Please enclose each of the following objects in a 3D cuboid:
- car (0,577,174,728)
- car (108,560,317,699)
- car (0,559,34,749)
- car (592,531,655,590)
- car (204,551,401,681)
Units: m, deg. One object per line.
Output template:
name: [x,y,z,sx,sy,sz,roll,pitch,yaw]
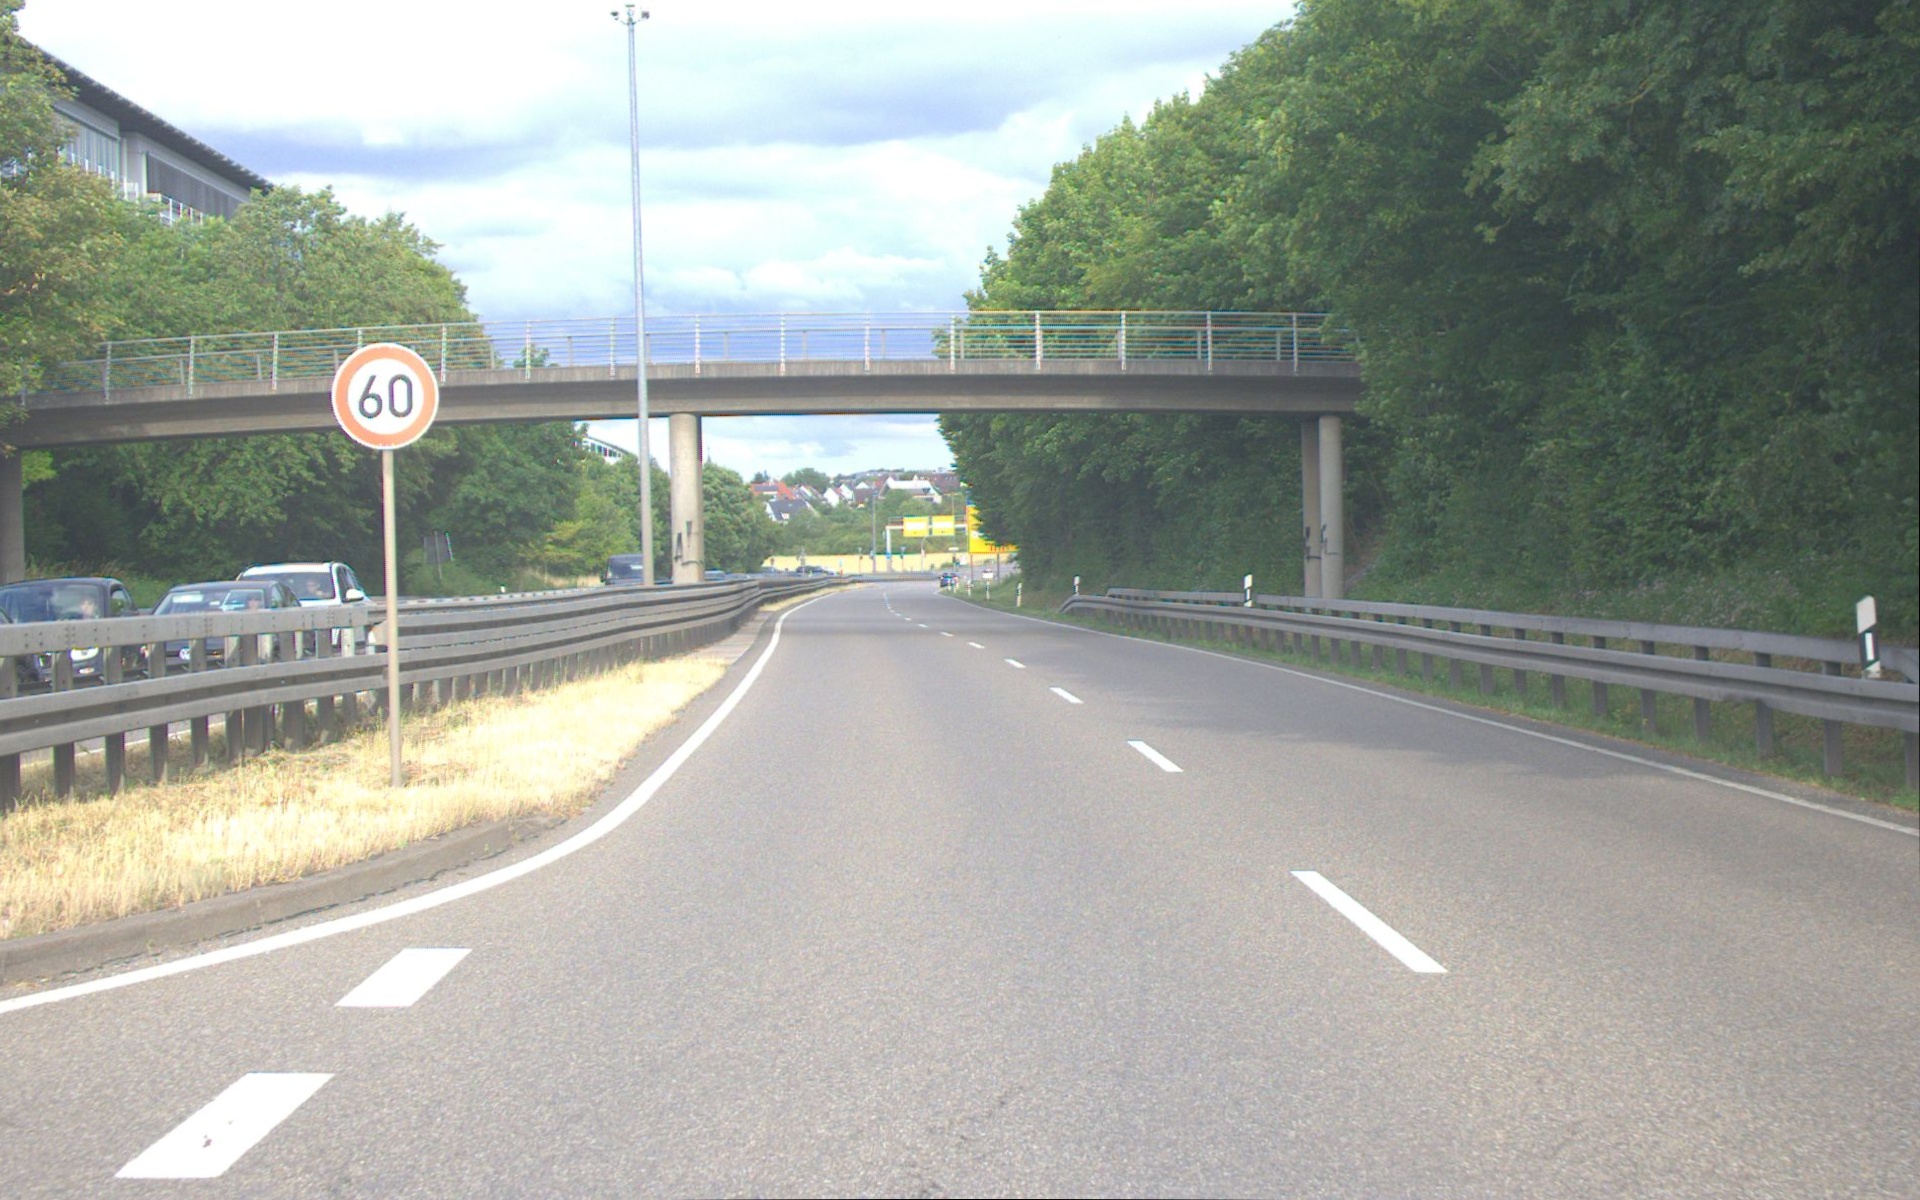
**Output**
car: [-9.299,0.521,35.572,1.556,1.355,3.463,-3,2,-2]
car: [-8.746,0.310,40.502,1.718,1.462,3.735,-1,2,-2]
car: [-8.843,0.495,27.459,1.712,1.583,4.555,-3,1,-2]
car: [-15.538,-1.813,159.185,2.249,2.528,6.941,-4,1,-1]
car: [-9.077,0.186,47.824,1.823,1.579,4.791,-4,1,-1]
